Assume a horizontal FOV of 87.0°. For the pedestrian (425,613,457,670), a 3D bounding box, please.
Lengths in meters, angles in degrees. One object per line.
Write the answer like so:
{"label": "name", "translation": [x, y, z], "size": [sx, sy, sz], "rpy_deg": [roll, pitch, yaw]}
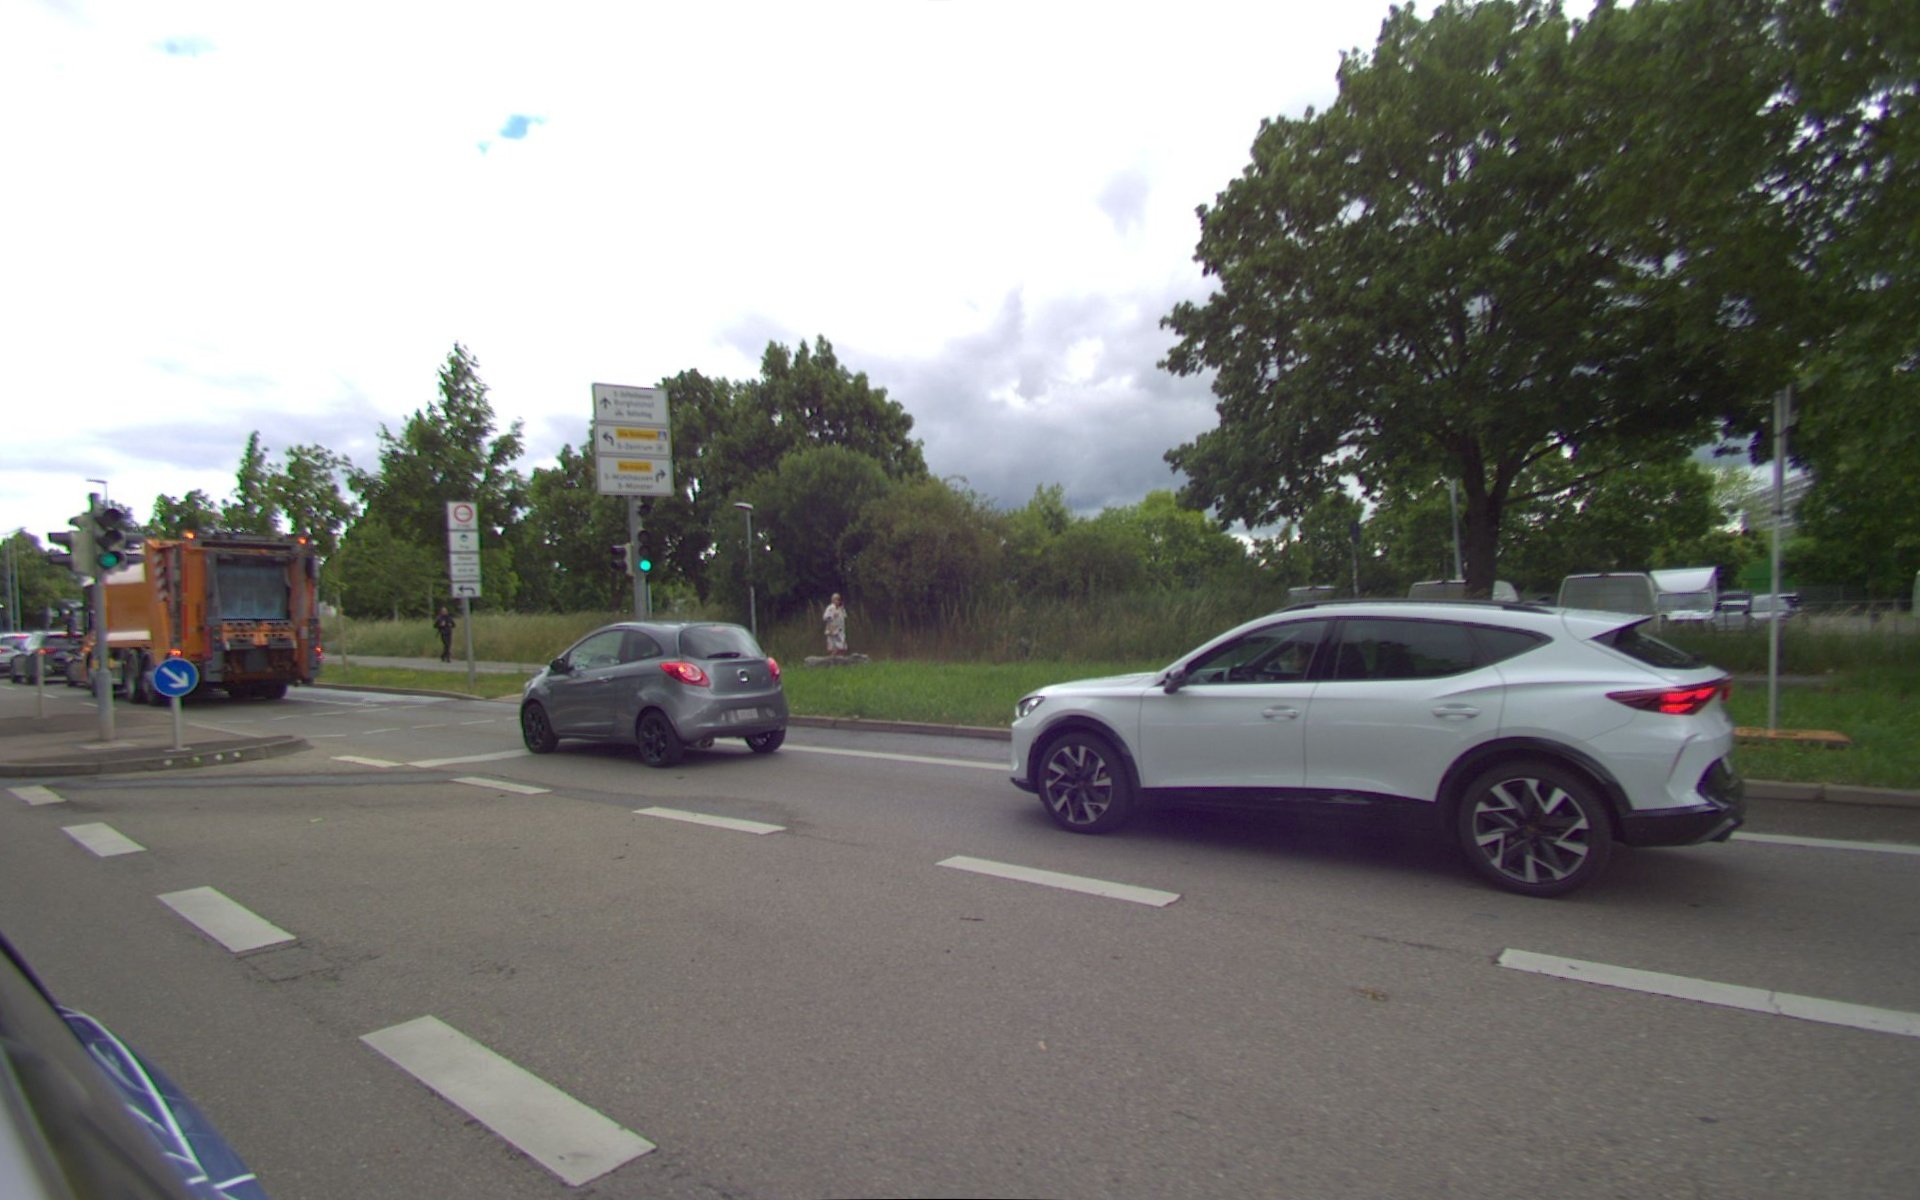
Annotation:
{"label": "pedestrian", "translation": [-17.516, 1.394, 34.150], "size": [0.677, 1.849, 0.714], "rpy_deg": [-3, -1, 39]}

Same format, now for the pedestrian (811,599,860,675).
{"label": "pedestrian", "translation": [-2.785, 0.815, 22.583], "size": [0.753, 1.665, 0.736], "rpy_deg": [-2, -1, 40]}

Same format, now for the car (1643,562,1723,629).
{"label": "car", "translation": [28.820, -0.164, 40.347], "size": [2.399, 2.474, 4.922], "rpy_deg": [-2, -1, 36]}

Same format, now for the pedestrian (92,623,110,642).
{"label": "pedestrian", "translation": [-58.139, 2.169, 68.497], "size": [0.548, 1.236, 0.766], "rpy_deg": [-3, 0, 30]}

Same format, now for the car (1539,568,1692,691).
{"label": "car", "translation": [15.540, 0.606, 23.837], "size": [2.652, 2.494, 5.990], "rpy_deg": [-2, -1, 36]}

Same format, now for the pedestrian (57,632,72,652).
{"label": "pedestrian", "translation": [-62.614, 2.919, 70.787], "size": [0.771, 1.374, 0.545], "rpy_deg": [-3, 0, 31]}

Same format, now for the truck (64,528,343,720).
{"label": "truck", "translation": [-17.260, 0.604, 22.693], "size": [9.985, 3.513, 2.679], "rpy_deg": [-3, -1, 40]}

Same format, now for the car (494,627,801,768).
{"label": "car", "translation": [-3.606, 1.004, 11.400], "size": [3.649, 1.341, 1.532], "rpy_deg": [-2, -3, 39]}

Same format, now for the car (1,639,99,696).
{"label": "car", "translation": [-28.481, 2.081, 31.629], "size": [4.055, 1.597, 1.624], "rpy_deg": [-3, -1, 39]}

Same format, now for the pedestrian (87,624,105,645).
{"label": "pedestrian", "translation": [-59.128, 2.344, 69.226], "size": [0.548, 1.340, 0.766], "rpy_deg": [-3, 0, 30]}

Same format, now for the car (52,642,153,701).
{"label": "car", "translation": [-23.898, 1.970, 28.159], "size": [3.890, 1.468, 1.420], "rpy_deg": [-3, -1, 39]}

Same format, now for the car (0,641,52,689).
{"label": "car", "translation": [-34.818, 2.390, 37.001], "size": [4.218, 1.597, 1.714], "rpy_deg": [-3, -1, 39]}

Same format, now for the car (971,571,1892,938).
{"label": "car", "translation": [2.535, 0.738, 6.457], "size": [4.808, 1.532, 1.828], "rpy_deg": [-2, -3, 38]}

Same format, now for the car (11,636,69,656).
{"label": "car", "translation": [-96.777, 4.809, 106.509], "size": [1.809, 1.793, 4.177], "rpy_deg": [-3, 0, 32]}
